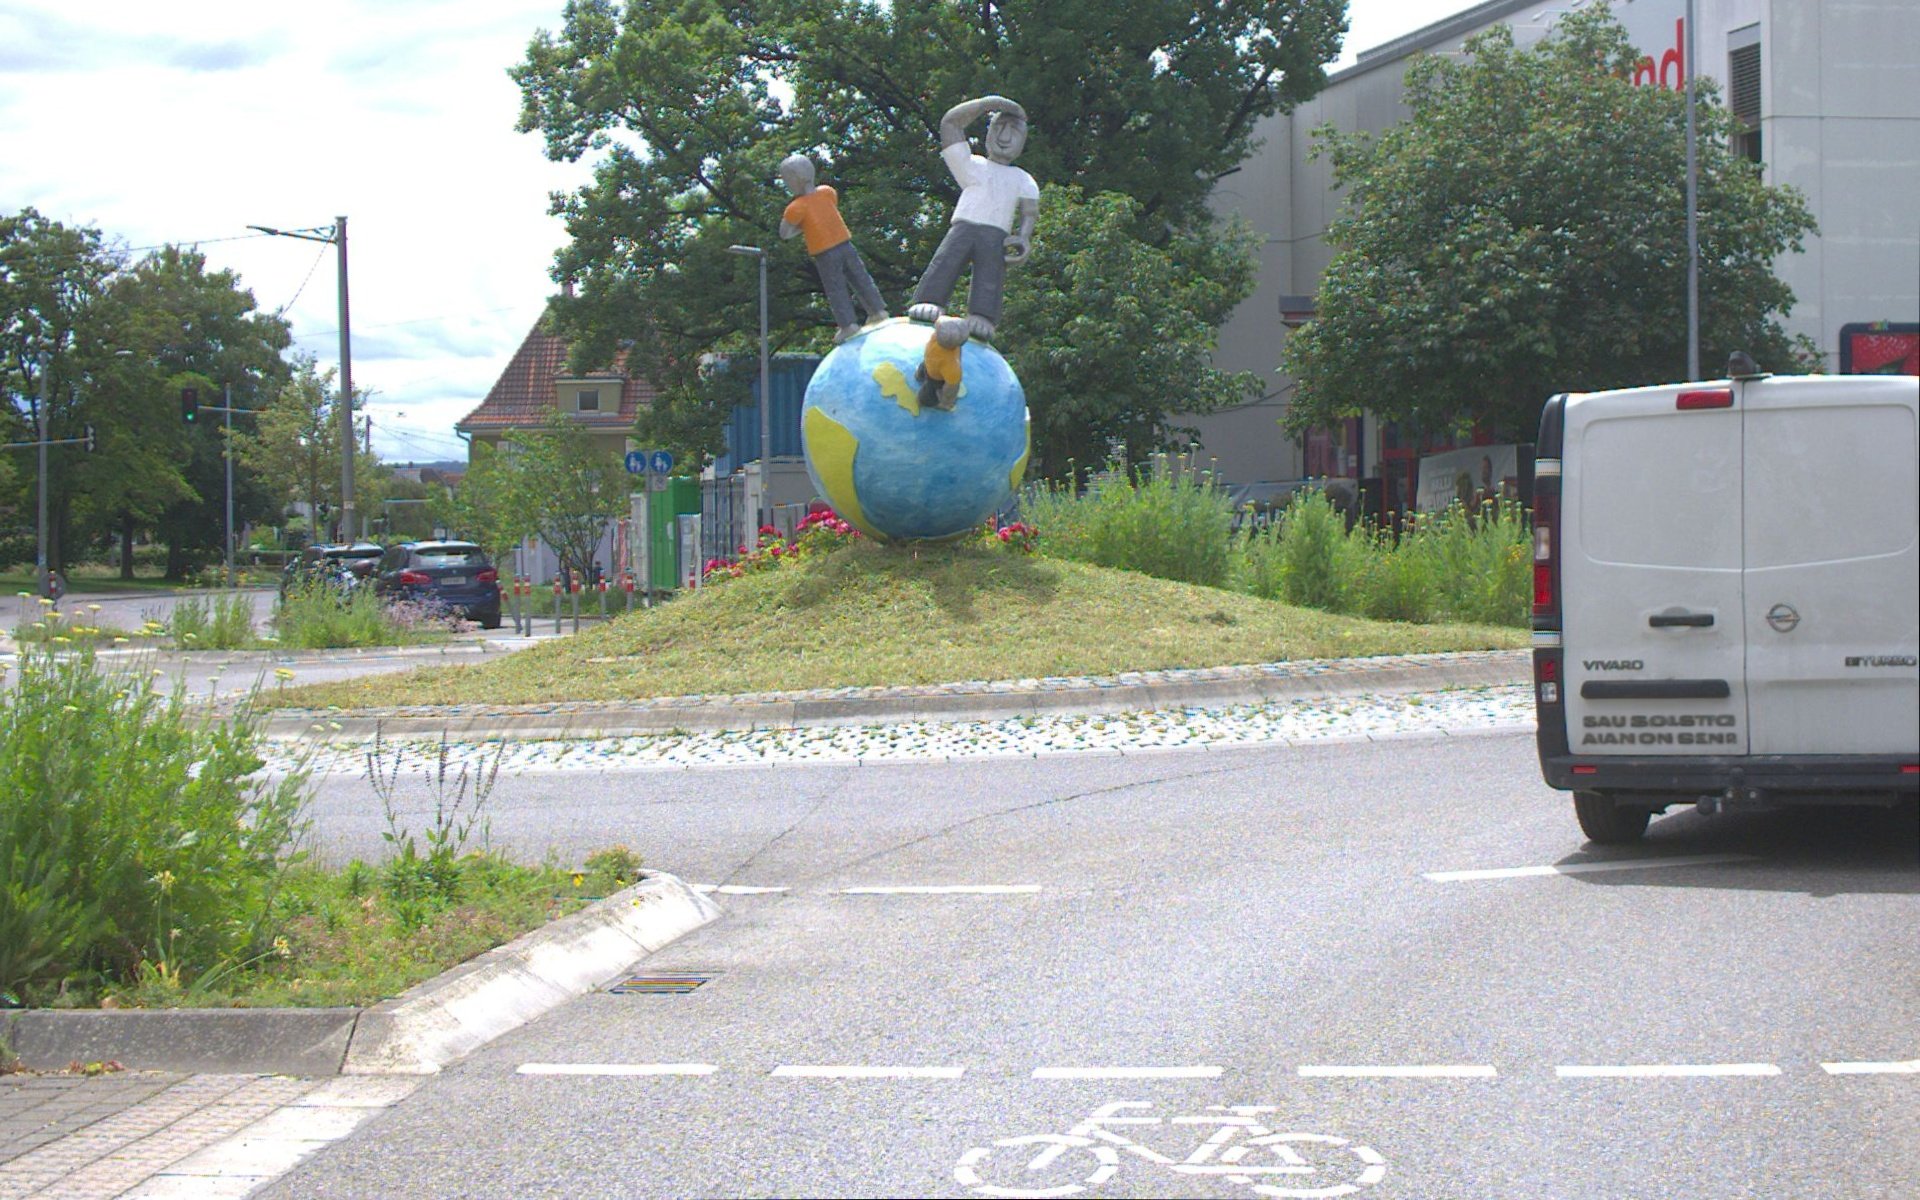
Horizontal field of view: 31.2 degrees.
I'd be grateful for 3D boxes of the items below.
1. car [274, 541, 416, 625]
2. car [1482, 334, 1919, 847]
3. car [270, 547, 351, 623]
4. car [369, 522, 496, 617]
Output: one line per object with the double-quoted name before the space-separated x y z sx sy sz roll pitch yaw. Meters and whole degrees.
"car" -12.015 -0.349 66.970 1.919 1.495 3.926 -1 2 -22
"car" 4.162 -0.088 15.535 2.038 1.938 4.986 2 2 27
"car" -15.995 -0.399 84.712 1.897 1.738 3.926 -1 2 -10
"car" -9.163 -0.558 59.517 1.932 1.532 3.926 -1 2 -12
